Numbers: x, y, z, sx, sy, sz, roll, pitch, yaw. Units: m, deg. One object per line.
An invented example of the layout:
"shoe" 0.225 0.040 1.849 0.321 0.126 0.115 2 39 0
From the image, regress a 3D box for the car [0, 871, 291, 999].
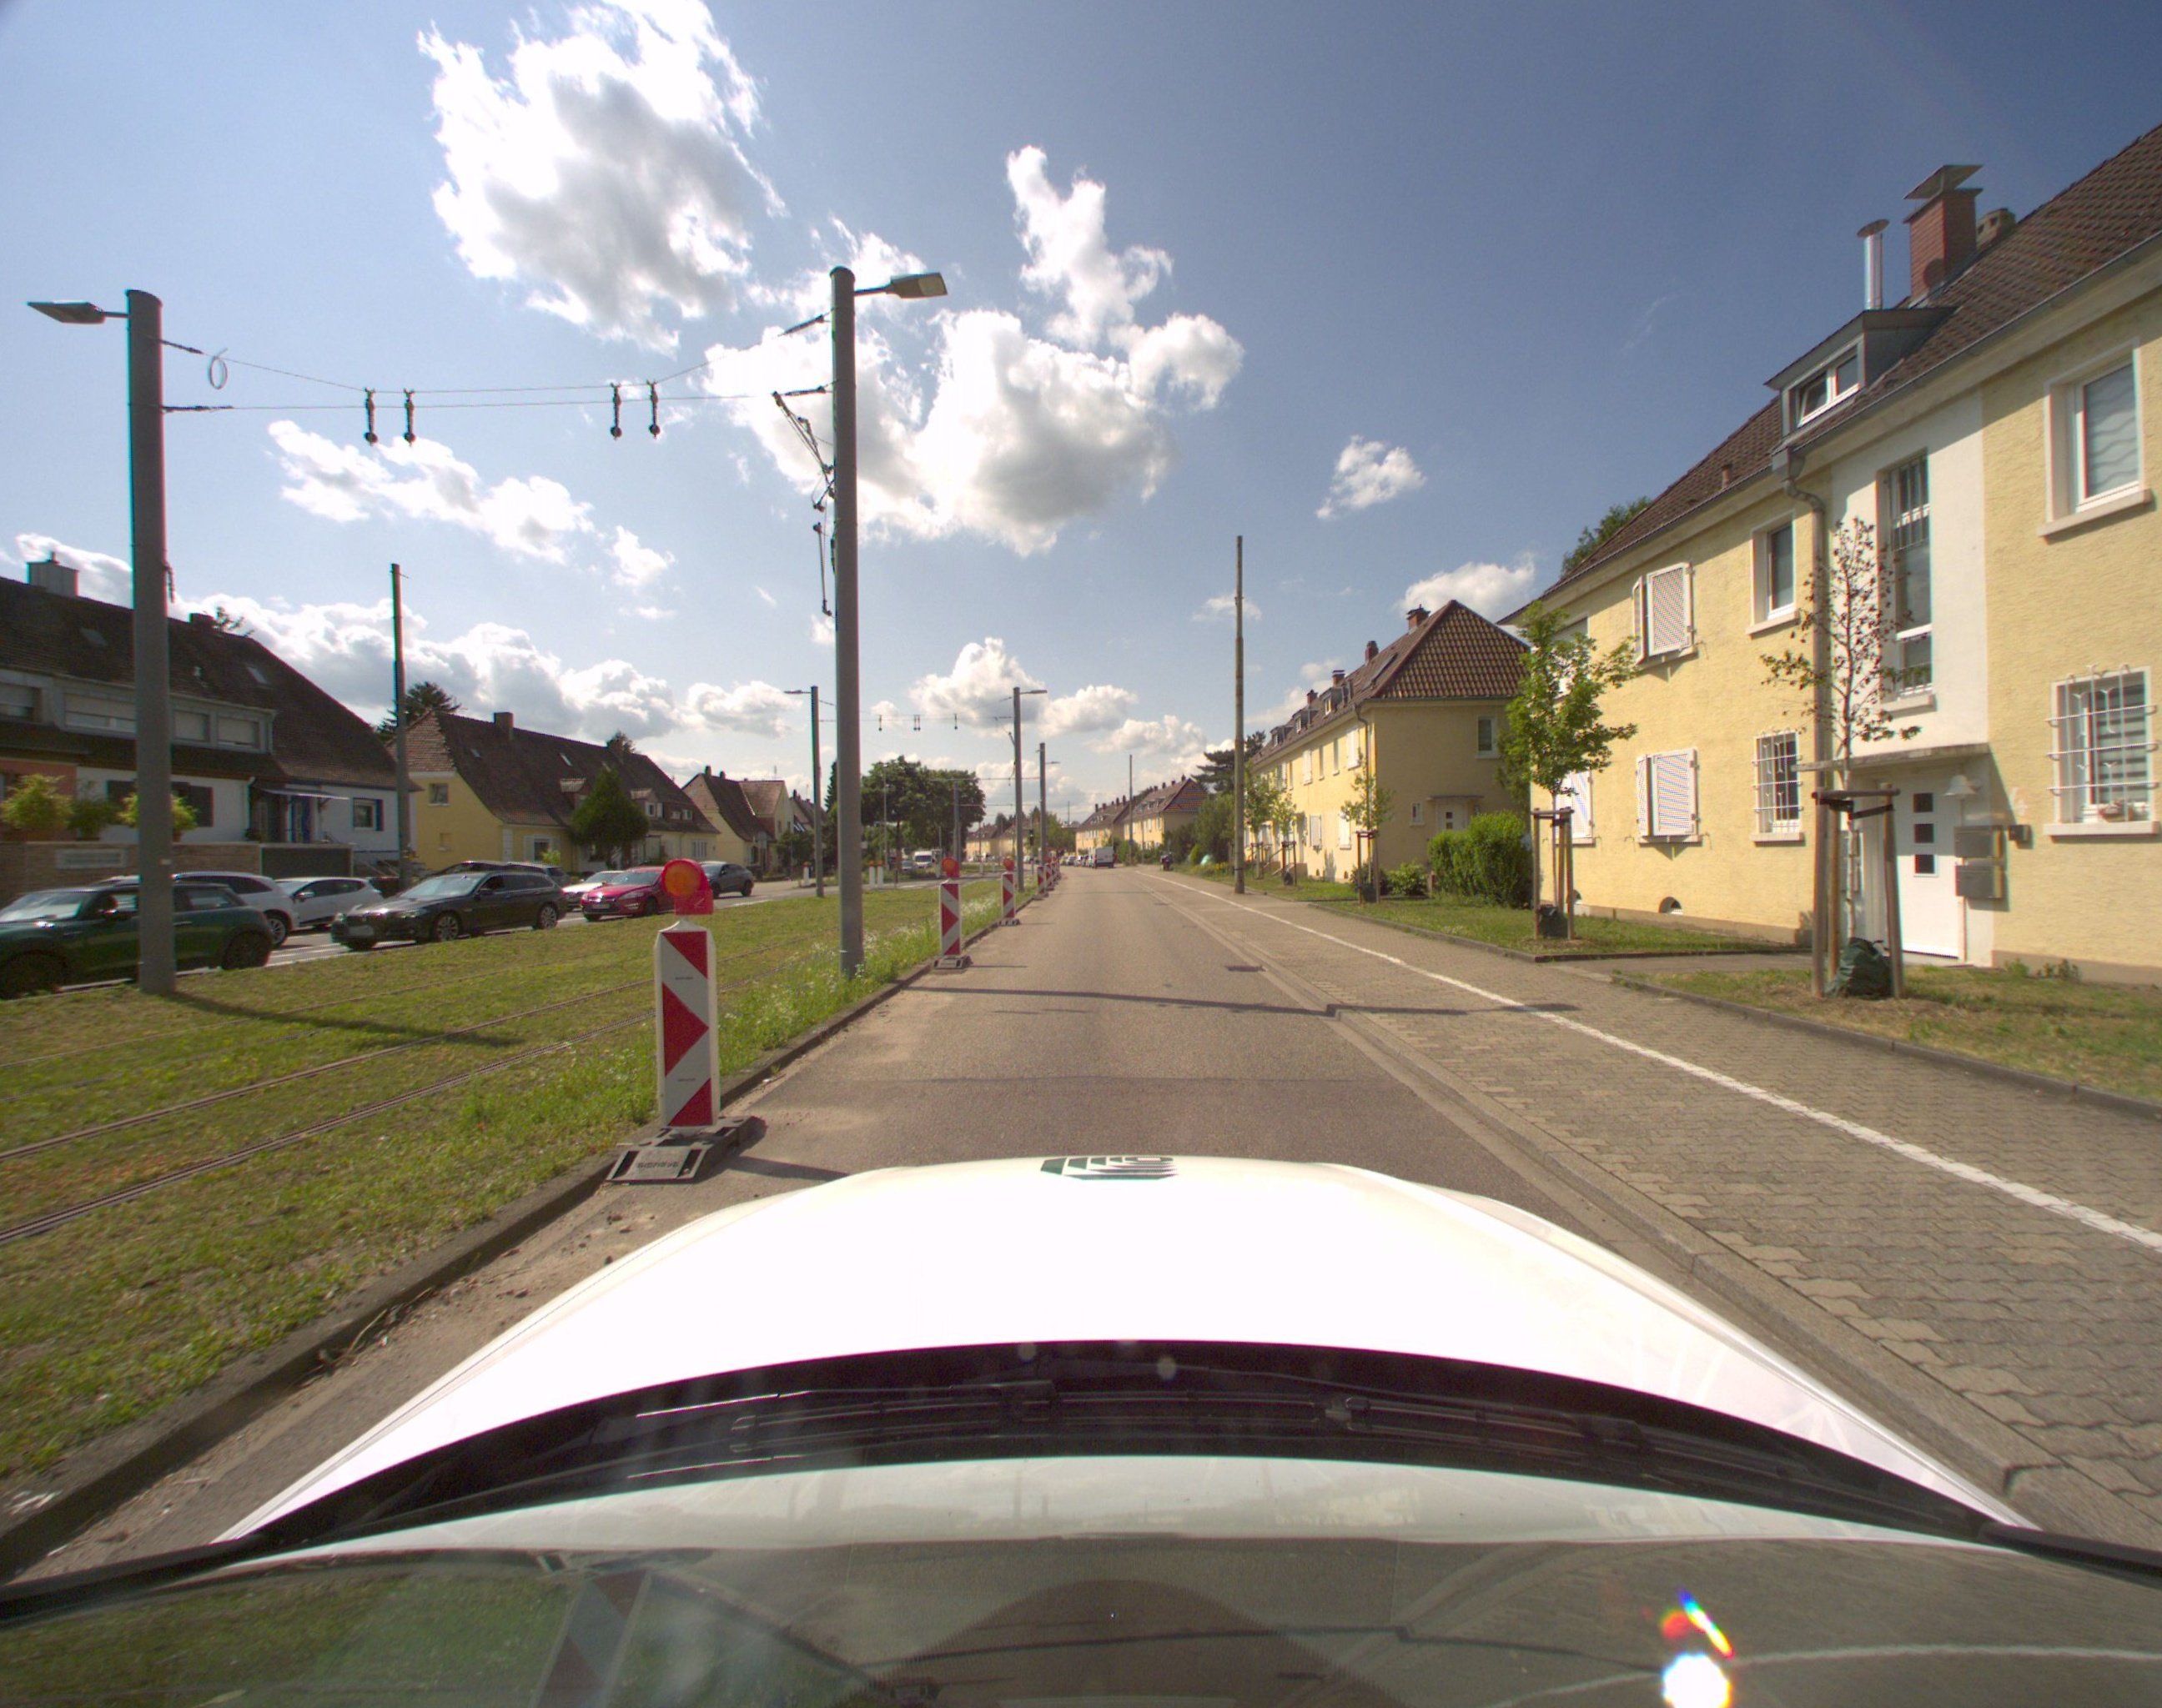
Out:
"car" -13.519 1.004 10.919 1.909 1.419 4.000 -1 0 0

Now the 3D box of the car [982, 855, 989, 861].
"car" -24.120 1.048 205.648 1.170 1.426 2.647 -1 0 -20

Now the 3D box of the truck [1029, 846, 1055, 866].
"truck" -7.175 0.385 148.513 2.645 3.494 9.388 -1 0 -15

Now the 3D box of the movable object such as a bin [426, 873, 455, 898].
"movable object such as a bin" -24.636 1.204 31.323 0.679 0.933 0.517 -1 0 0

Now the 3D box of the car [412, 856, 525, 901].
"car" -25.641 1.001 34.187 3.374 1.594 1.604 4 0 -1

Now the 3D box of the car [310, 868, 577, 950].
"car" -13.366 1.065 17.588 1.837 1.413 4.916 -1 0 0

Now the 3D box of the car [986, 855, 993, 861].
"car" -22.634 1.063 201.448 1.170 1.426 2.647 -1 0 -20

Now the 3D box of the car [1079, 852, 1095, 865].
"car" 0.736 0.574 101.221 1.565 1.551 3.782 -1 0 -6

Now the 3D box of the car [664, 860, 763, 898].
"car" -16.286 1.068 36.406 1.834 1.534 4.747 -1 0 7

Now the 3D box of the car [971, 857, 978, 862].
"car" -28.276 1.504 216.163 1.262 1.426 2.647 -1 0 -20

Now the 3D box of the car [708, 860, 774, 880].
"car" -24.533 1.159 58.838 3.973 1.398 1.704 0 0 0

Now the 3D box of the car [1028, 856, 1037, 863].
"car" -9.596 1.050 161.128 1.260 1.426 2.651 -1 0 -16

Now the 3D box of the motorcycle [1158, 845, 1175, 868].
"motorcycle" 6.315 0.207 60.269 1.063 1.635 2.083 -1 0 0

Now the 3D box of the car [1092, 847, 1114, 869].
"car" 2.336 0.405 86.338 2.060 2.149 4.875 -1 0 -2

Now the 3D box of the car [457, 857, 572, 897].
"car" -25.662 1.023 36.996 3.941 1.491 1.604 4 0 -1

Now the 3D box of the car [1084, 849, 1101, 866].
"car" 1.390 0.378 95.925 1.565 1.897 3.782 -1 0 -6

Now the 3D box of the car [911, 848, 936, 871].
"car" -16.747 0.586 86.943 2.406 2.338 4.864 -1 0 -9

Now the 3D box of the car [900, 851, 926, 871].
"car" -15.557 0.675 75.558 2.094 1.776 4.108 -1 0 -9

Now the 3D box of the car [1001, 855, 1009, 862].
"car" -17.633 1.052 188.141 1.261 1.426 2.648 -1 0 -19

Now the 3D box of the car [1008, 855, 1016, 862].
"car" -15.410 1.036 181.671 1.260 1.426 2.650 -1 0 -17

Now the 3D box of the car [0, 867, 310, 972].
"car" -17.979 1.129 15.731 1.837 1.669 4.505 -1 0 0

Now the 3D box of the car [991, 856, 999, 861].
"car" -20.765 1.073 197.184 1.261 1.350 2.648 -1 0 -19

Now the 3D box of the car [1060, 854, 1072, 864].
"car" -2.258 0.729 125.030 1.565 1.551 3.472 -1 0 -6

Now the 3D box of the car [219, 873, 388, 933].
"car" -20.925 1.270 22.089 1.561 1.419 3.088 -1 0 1

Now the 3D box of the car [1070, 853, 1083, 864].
"car" -0.616 0.669 118.696 1.565 1.551 3.472 -1 0 -6

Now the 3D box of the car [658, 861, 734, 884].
"car" -25.777 1.230 54.588 4.093 1.466 1.991 -1 0 0

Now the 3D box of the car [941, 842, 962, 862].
"car" -15.804 -0.220 99.245 2.406 2.370 4.864 -1 0 -9

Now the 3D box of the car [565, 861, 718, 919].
"car" -13.037 1.002 24.577 1.836 1.494 4.858 -1 0 1

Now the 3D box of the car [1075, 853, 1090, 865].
"car" 0.166 0.626 106.611 1.565 1.551 3.782 -1 0 -6

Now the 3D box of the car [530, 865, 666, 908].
"car" -17.110 1.100 29.176 1.836 1.343 4.781 -1 0 3

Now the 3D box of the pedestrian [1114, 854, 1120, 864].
"pedestrian" 4.717 0.648 107.479 0.631 1.255 0.725 -1 0 -8

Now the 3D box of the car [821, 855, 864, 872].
"car" -25.878 1.044 88.460 4.098 1.776 2.099 -1 0 -3
